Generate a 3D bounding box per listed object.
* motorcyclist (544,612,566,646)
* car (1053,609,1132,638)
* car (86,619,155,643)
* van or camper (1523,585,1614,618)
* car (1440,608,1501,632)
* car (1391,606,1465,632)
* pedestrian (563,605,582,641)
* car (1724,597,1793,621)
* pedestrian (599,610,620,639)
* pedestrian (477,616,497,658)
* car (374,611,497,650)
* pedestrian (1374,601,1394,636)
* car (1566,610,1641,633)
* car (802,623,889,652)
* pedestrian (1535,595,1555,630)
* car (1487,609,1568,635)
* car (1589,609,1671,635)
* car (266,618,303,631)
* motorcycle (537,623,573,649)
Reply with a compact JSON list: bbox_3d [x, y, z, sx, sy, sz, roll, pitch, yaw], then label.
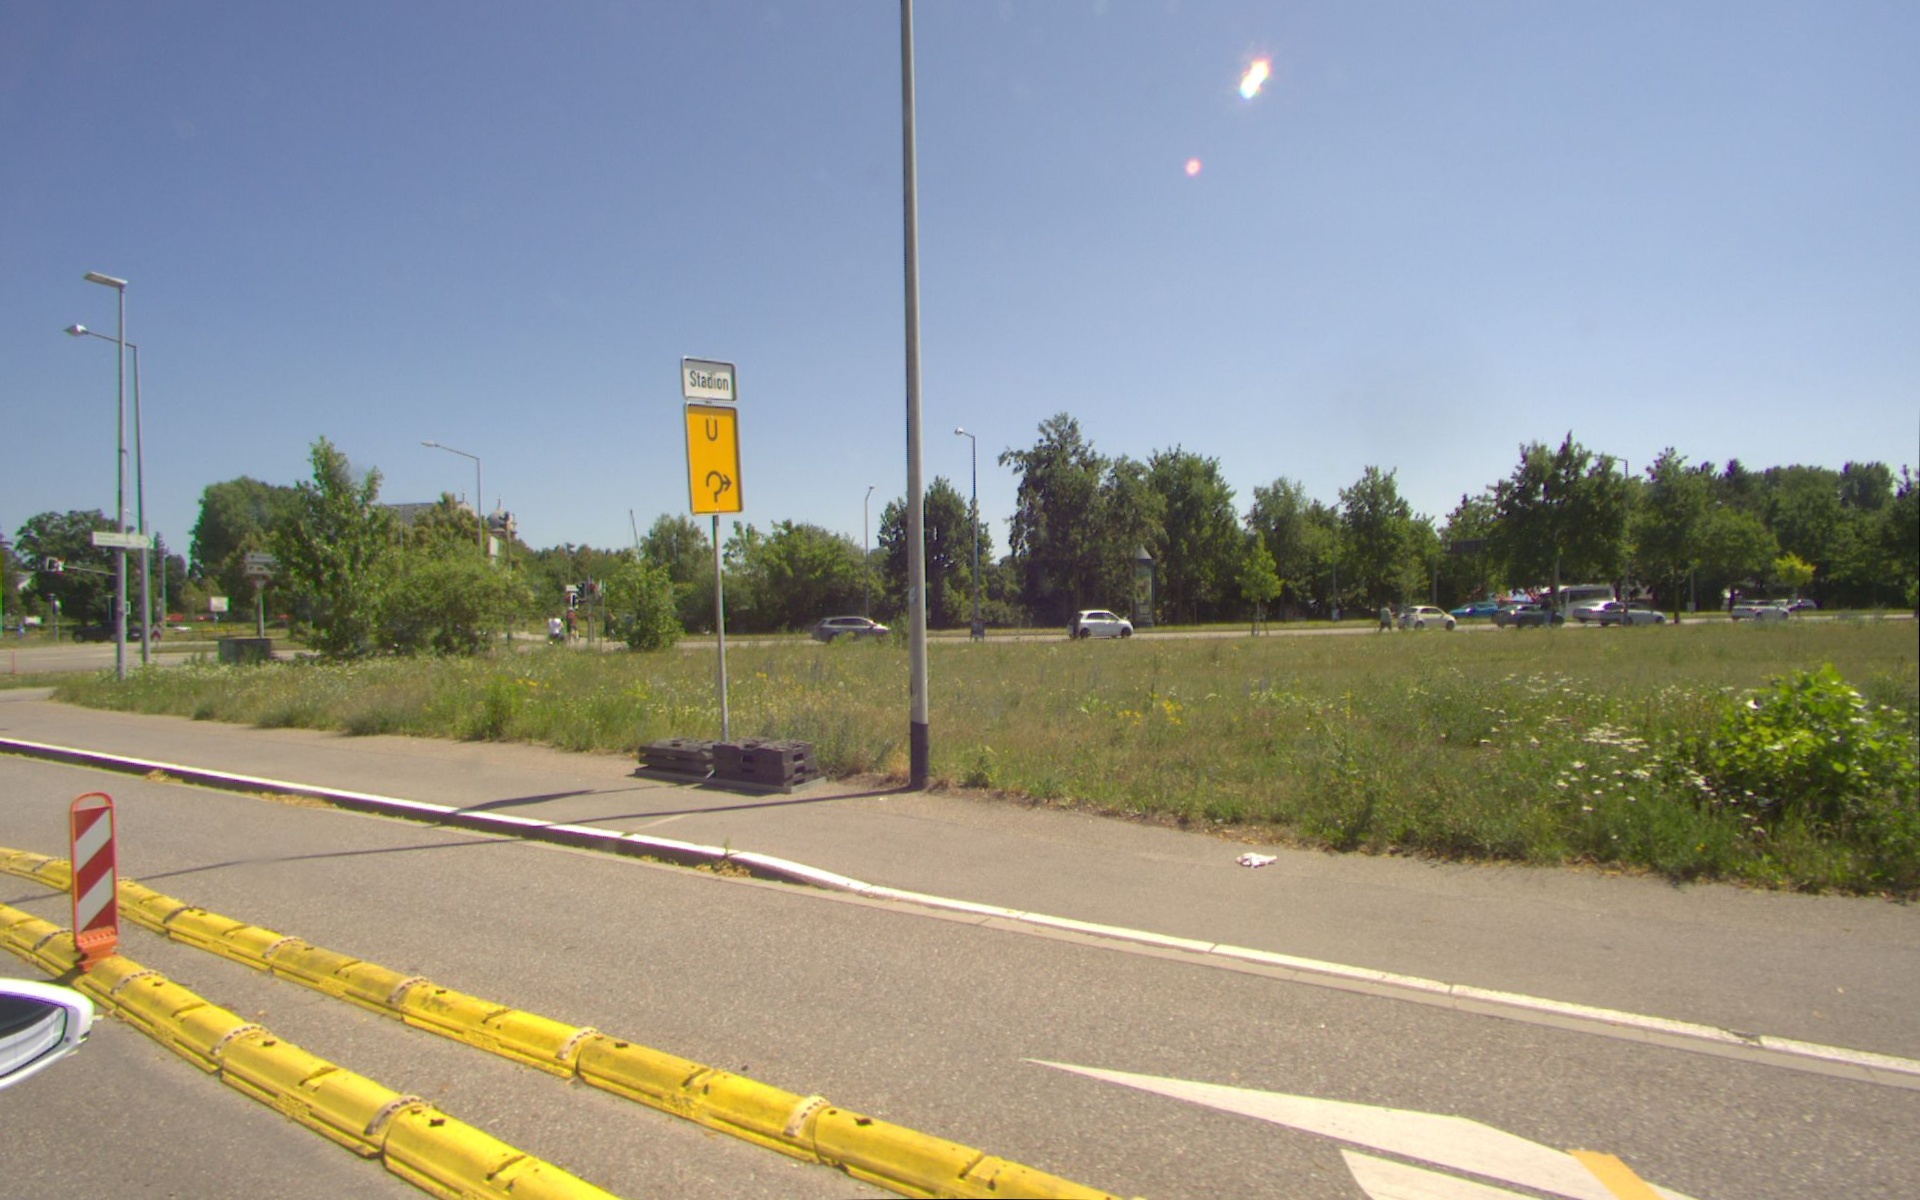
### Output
[{"bbox_3d":[-15.692,1.110,38.798,0.570,1.306,0.615,0,-1,3],"label":"motorcyclist"},{"bbox_3d":[7.228,1.282,54.823,3.928,1.572,1.738,0,-1,-16],"label":"car"},{"bbox_3d":[-64.639,2.366,77.102,4.122,1.695,1.947,-1,0,12],"label":"car"},{"bbox_3d":[51.703,0.150,85.073,7.383,2.728,2.508,0,-1,-19],"label":"van or camper"},{"bbox_3d":[40.048,1.582,78.630,3.927,1.861,1.998,0,-1,-15],"label":"car"},{"bbox_3d":[28.383,1.160,60.762,3.928,1.572,1.738,0,-1,-16],"label":"car"},{"bbox_3d":[-21.038,1.252,54.367,0.726,1.894,0.648,-1,-1,33],"label":"pedestrian"},{"bbox_3d":[54.712,0.613,68.651,3.928,1.572,1.738,0,-1,-16],"label":"car"},{"bbox_3d":[-19.186,1.348,54.843,0.811,1.583,0.791,-1,-1,33],"label":"pedestrian"},{"bbox_3d":[-18.067,1.399,38.212,0.506,1.583,0.496,-1,-1,32],"label":"pedestrian"},{"bbox_3d":[-22.432,1.287,42.868,4.396,1.616,1.984,1,-1,-39],"label":"car"},{"bbox_3d":[19.519,0.838,46.102,0.724,1.583,0.497,0,-1,-18],"label":"pedestrian"},{"bbox_3d":[43.994,1.478,68.507,4.559,1.572,1.738,0,-1,-16],"label":"car"},{"bbox_3d":[-5.772,1.851,50.457,4.131,1.409,1.899,0,-1,-15],"label":"car"},{"bbox_3d":[28.893,0.616,49.448,0.724,1.712,0.497,0,-1,-18],"label":"pedestrian"},{"bbox_3d":[35.679,1.407,63.024,4.326,1.572,1.739,1,-2,-11],"label":"car"},{"bbox_3d":[41.391,1.364,61.892,3.999,1.524,1.999,0,-1,-12],"label":"car"},{"bbox_3d":[-93.104,3.433,138.087,1.964,1.736,3.996,-1,-1,16],"label":"car"},{"bbox_3d":[-15.666,1.400,38.753,0.619,0.982,1.709,0,-1,3],"label":"motorcycle"}]
